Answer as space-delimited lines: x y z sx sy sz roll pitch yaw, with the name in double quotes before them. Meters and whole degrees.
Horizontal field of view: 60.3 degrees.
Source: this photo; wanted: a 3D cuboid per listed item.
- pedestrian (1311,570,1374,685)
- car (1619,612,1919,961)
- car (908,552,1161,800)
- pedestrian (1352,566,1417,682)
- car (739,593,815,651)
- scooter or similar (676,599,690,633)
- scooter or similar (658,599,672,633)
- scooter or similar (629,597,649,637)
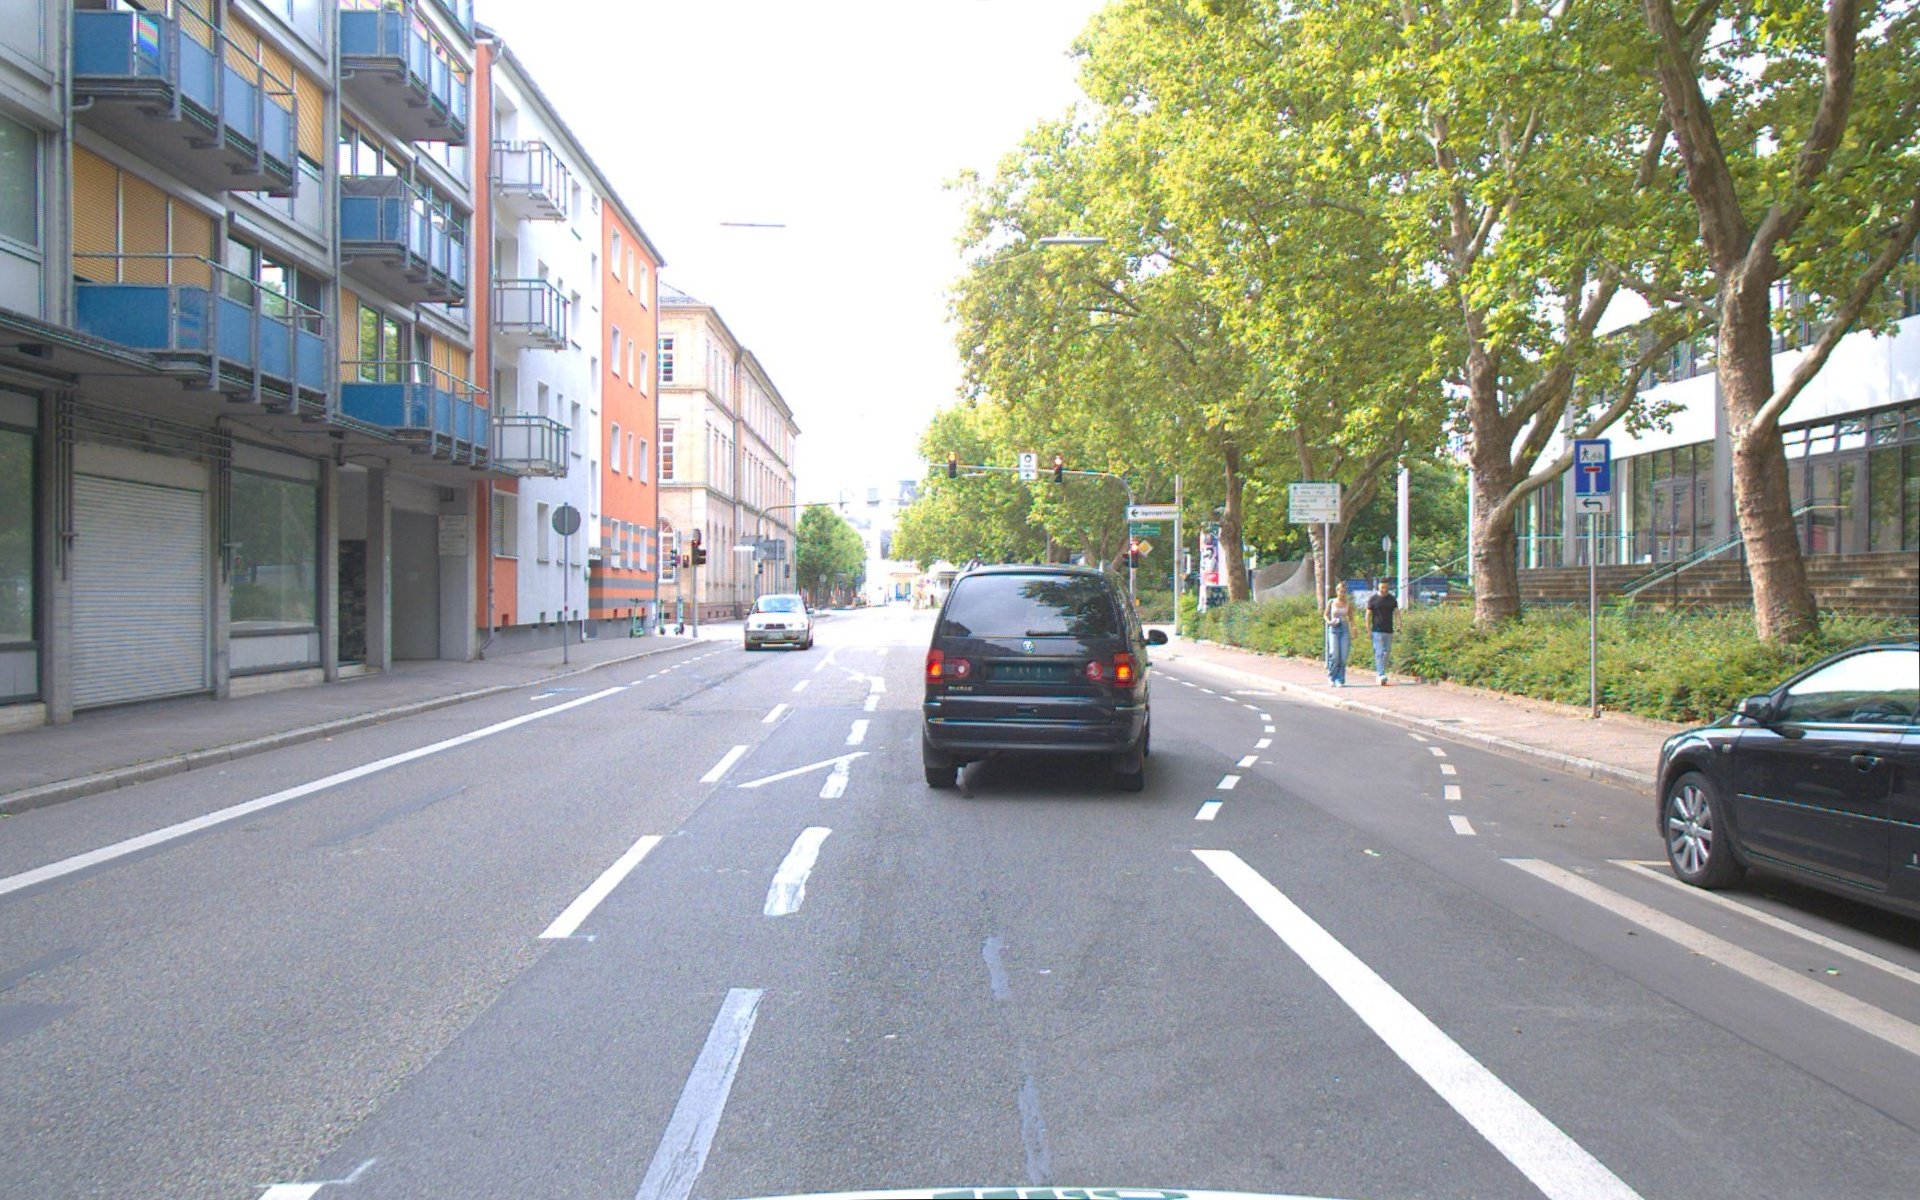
"pedestrian" 6.214 0.434 26.940 0.696 1.814 1.033 -2 0 -3
"car" 4.899 0.831 7.665 1.664 1.450 4.419 2 0 -4
"car" 0.798 0.529 14.289 1.834 1.775 4.577 0 0 7
"pedestrian" 6.895 0.387 26.919 0.700 1.831 1.033 -2 0 -3
"car" -4.906 0.557 44.794 1.722 1.452 4.097 -1 0 -2
"scooter or similar" -9.565 0.564 57.161 0.370 1.164 1.140 0 -1 -5
"scooter or similar" -10.109 0.560 56.680 0.370 1.167 1.140 0 -1 -5
"scooter or similar" -9.795 0.512 50.472 0.370 1.204 1.389 0 -1 -1
